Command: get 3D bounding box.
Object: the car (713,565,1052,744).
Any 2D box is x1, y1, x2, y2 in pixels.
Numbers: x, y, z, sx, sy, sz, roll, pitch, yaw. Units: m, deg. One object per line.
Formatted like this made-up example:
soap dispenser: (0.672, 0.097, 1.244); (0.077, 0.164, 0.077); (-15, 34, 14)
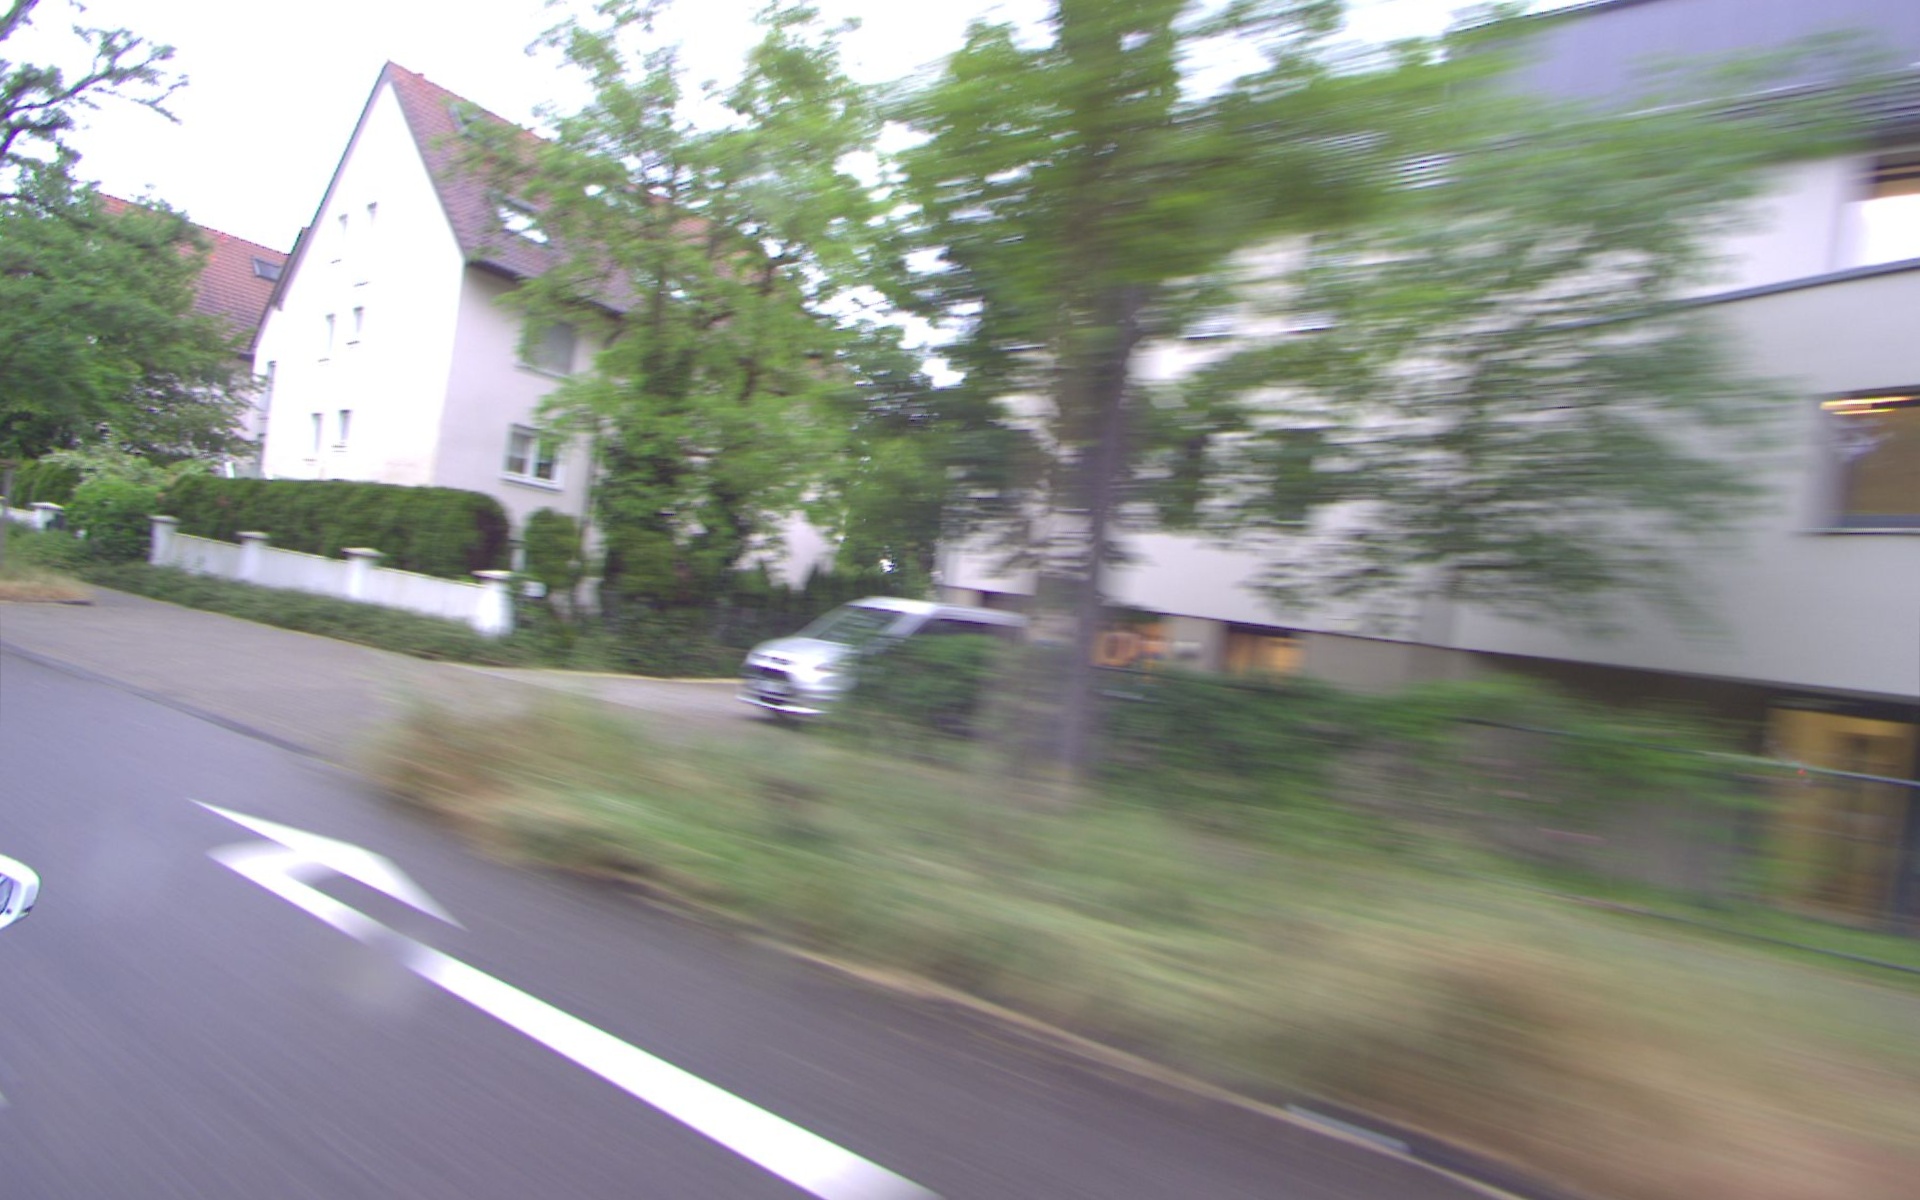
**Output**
car: (-0.877, 0.820, 13.522); (1.848, 1.838, 4.302); (7, -3, 42)
